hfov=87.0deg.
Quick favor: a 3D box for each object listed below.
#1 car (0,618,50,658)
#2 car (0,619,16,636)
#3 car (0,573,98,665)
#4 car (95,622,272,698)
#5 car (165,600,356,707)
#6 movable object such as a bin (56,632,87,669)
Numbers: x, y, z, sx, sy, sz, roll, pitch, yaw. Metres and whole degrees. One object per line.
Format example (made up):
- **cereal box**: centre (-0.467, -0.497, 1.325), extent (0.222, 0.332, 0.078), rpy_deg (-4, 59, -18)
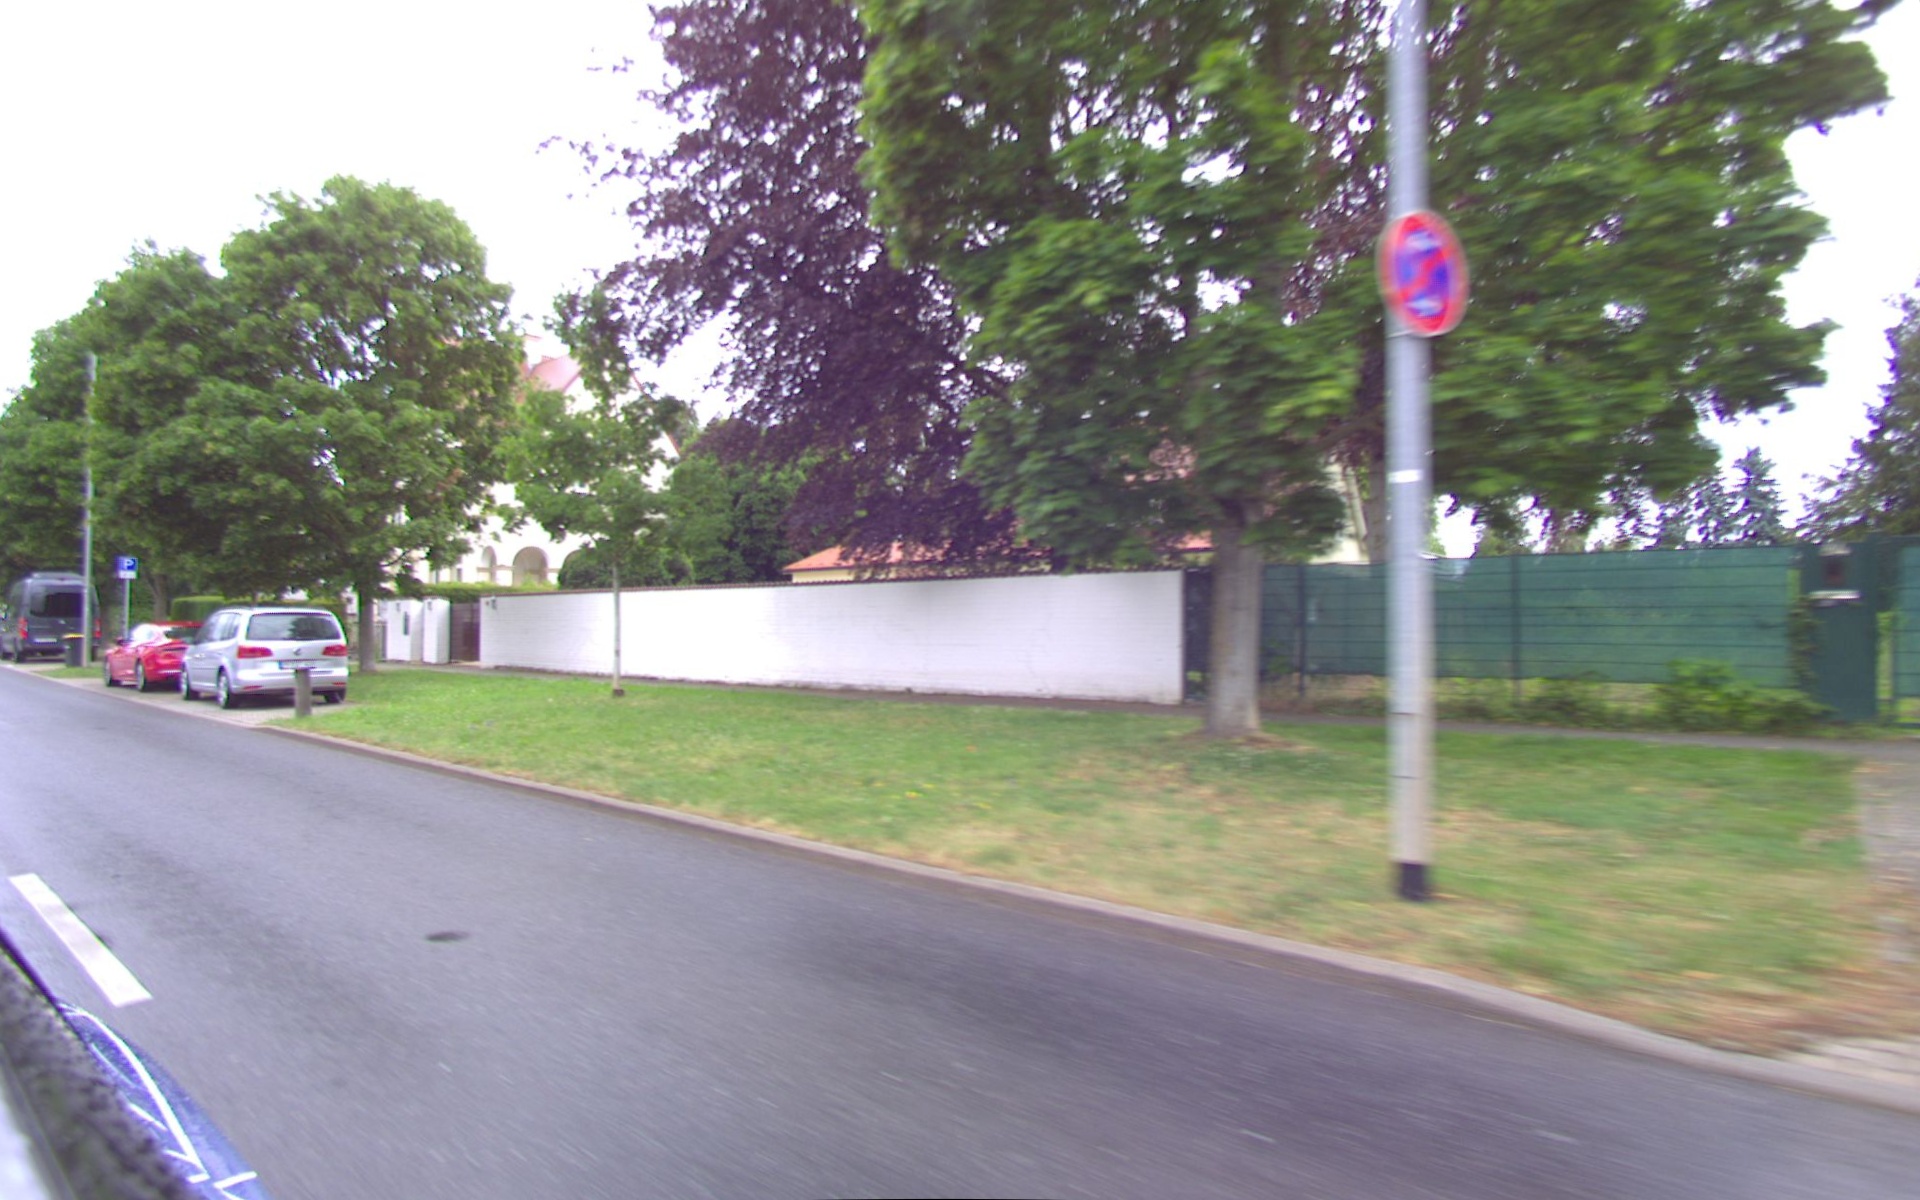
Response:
- **car**: centre (-34.844, 1.372, 37.072), extent (3.822, 1.419, 1.705), rpy_deg (-1, -2, 40)
- **car**: centre (-81.768, 2.332, 86.428), extent (3.454, 1.475, 1.576), rpy_deg (-1, -2, 45)
- **car**: centre (-30.038, 0.657, 33.049), extent (5.934, 2.749, 1.973), rpy_deg (-3, -1, 41)
- **car**: centre (-16.264, 1.166, 21.119), extent (4.553, 1.414, 1.973), rpy_deg (-1, -2, 40)
- **car**: centre (-12.202, 0.863, 17.555), extent (4.230, 1.640, 1.738), rpy_deg (-1, -2, 41)
- **movable object such as a bin**: centre (-23.415, 1.332, 26.679), extent (0.549, 0.960, 0.551), rpy_deg (-2, -2, 44)
